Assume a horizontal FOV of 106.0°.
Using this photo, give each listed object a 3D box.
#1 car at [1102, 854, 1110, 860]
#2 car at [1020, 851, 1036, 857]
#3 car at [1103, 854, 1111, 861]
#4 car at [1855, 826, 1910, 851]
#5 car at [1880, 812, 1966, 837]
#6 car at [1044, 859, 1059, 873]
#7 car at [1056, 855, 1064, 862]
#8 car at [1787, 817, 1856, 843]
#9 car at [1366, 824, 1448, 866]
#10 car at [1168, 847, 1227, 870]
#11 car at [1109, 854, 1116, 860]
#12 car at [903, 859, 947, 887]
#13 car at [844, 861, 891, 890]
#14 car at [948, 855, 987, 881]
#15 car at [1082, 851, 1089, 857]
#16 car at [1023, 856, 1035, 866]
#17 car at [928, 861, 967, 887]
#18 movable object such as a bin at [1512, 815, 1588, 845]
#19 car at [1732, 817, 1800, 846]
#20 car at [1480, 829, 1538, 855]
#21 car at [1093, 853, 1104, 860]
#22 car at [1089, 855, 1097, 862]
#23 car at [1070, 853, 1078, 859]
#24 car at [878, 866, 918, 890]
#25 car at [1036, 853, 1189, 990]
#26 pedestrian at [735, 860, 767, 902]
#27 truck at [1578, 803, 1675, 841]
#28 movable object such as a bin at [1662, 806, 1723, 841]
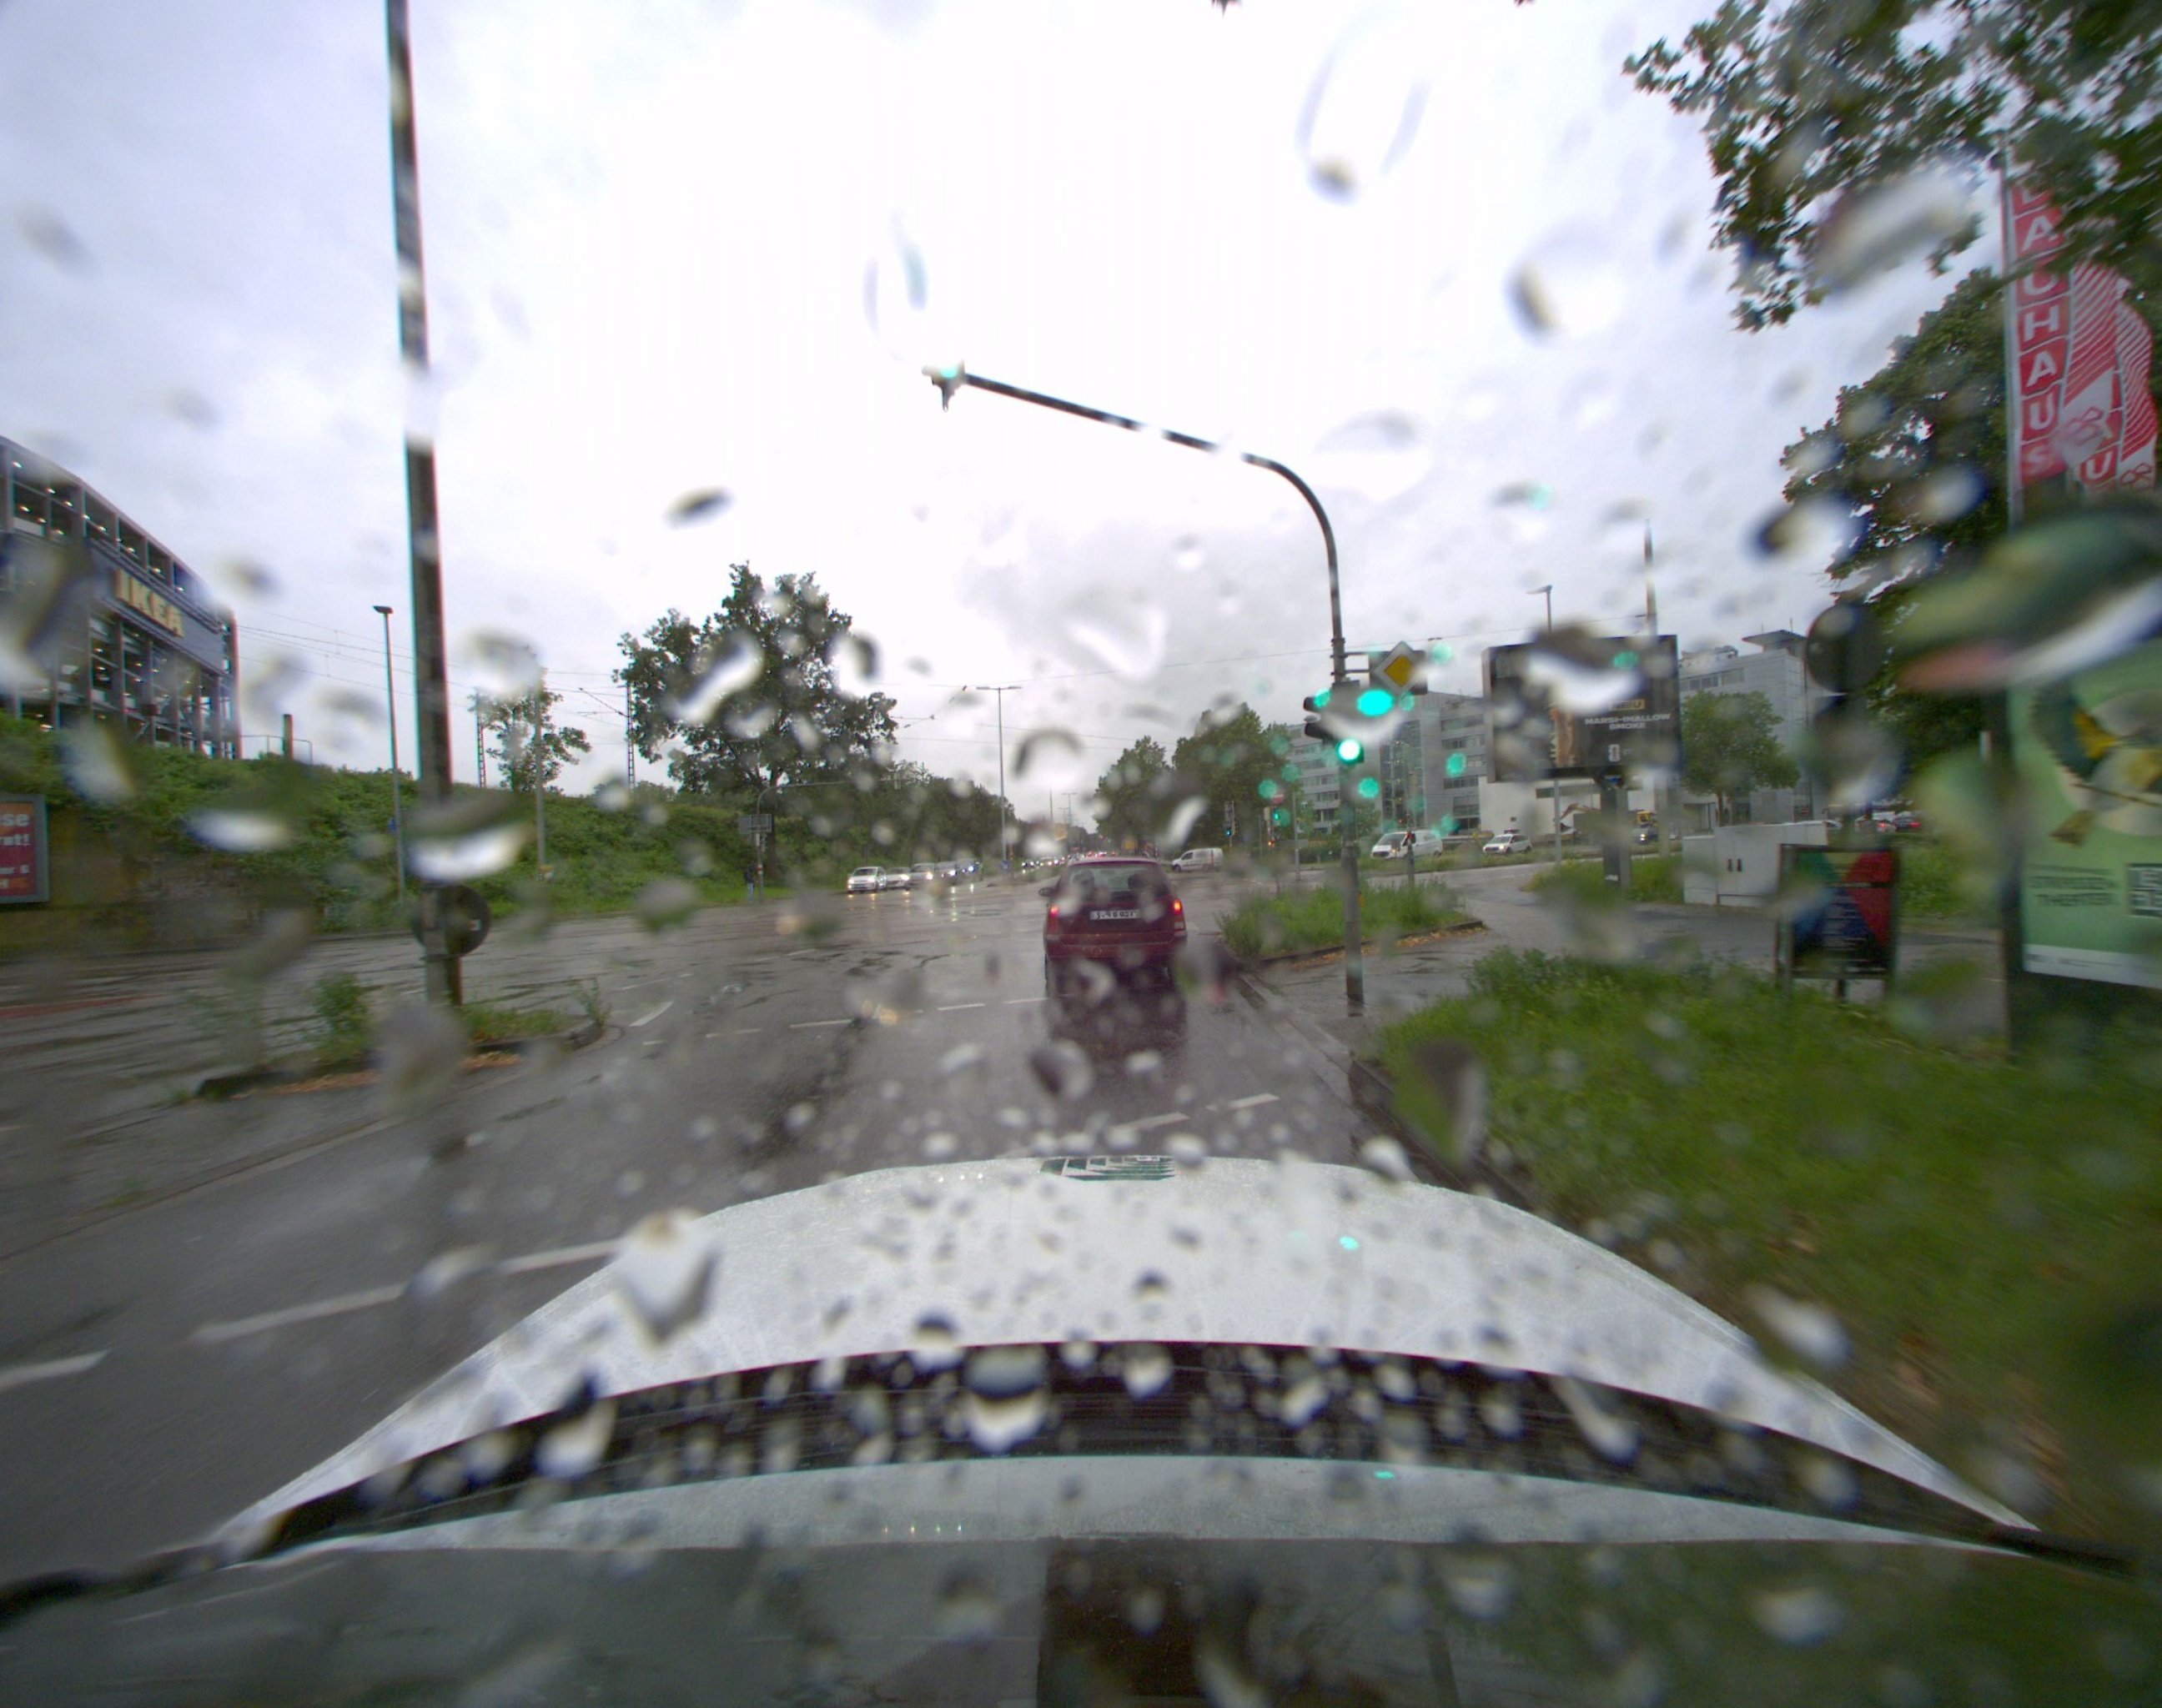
[{"bbox_3d":[6.883,0.934,221.803,1.662,1.528,3.853,-3,0,6],"label":"car"},{"bbox_3d":[-15.366,0.071,235.430,4.301,1.597,1.948,-3,0,-34],"label":"car"},{"bbox_3d":[5.894,0.840,185.546,1.691,1.528,3.849,-2,0,3],"label":"car"},{"bbox_3d":[57.664,-1.120,58.584,4.644,1.586,1.907,-3,0,-34],"label":"car"},{"bbox_3d":[75.279,-2.617,72.861,2.011,2.014,5.299,1,-1,-43],"label":"car"},{"bbox_3d":[-3.927,1.571,108.307,1.738,1.702,4.284,-4,0,1],"label":"car"},{"bbox_3d":[-5.477,1.180,211.255,1.956,1.597,4.284,-3,0,1],"label":"car"},{"bbox_3d":[45.941,-1.492,50.512,4.847,1.491,1.908,-2,-1,-32],"label":"car"},{"bbox_3d":[18.281,-0.524,45.566,4.709,2.125,1.978,-2,-1,-35],"label":"car"},{"bbox_3d":[8.909,0.333,62.450,4.190,1.726,1.752,-1,0,42],"label":"car"},{"bbox_3d":[8.360,0.884,213.370,1.664,1.528,3.849,-2,0,3],"label":"car"},{"bbox_3d":[-9.120,1.066,47.877,1.632,1.473,3.966,-3,0,2],"label":"car"},{"bbox_3d":[-12.218,1.195,46.799,1.633,1.452,3.786,-3,0,0],"label":"car"},{"bbox_3d":[-8.722,1.050,62.940,2.058,1.819,5.542,-3,0,1],"label":"car"},{"bbox_3d":[1.276,-0.035,236.330,1.691,1.528,3.849,-2,0,3],"label":"car"},{"bbox_3d":[-8.691,1.154,136.457,1.737,1.702,4.284,0,0,1],"label":"car"},{"bbox_3d":[-8.930,1.335,54.867,1.756,1.586,4.813,-3,-1,0],"label":"car"},{"bbox_3d":[53.650,-2.668,93.347,3.342,2.996,6.650,-3,0,-34],"label":"movable object such as a bin"},{"bbox_3d":[37.838,-1.246,44.988,3.828,1.491,1.662,-1,0,-30],"label":"car"},{"bbox_3d":[30.652,-0.871,58.342,4.400,1.621,1.757,-3,0,-34],"label":"car"},{"bbox_3d":[3.782,0.594,179.314,2.138,1.528,4.197,-3,0,4],"label":"car"},{"bbox_3d":[2.827,0.980,193.762,1.691,1.528,3.849,-2,0,3],"label":"car"},{"bbox_3d":[-2.009,0.666,227.041,1.955,1.597,4.286,-3,0,2],"label":"car"},{"bbox_3d":[-11.896,1.551,53.116,1.585,1.404,3.823,-3,0,1],"label":"car"},{"bbox_3d":[0.375,0.725,10.620,1.636,1.465,3.733,0,0,1],"label":"car"},{"bbox_3d":[-15.172,1.247,37.487,1.102,1.847,1.127,-2,0,-10],"label":"pedestrian"},{"bbox_3d":[57.839,-3.338,86.560,3.341,3.507,7.807,-3,0,-33],"label":"truck"},{"bbox_3d":[66.719,-3.321,88.815,6.347,3.507,3.293,-3,0,-34],"label":"movable object such as a bin"}]
